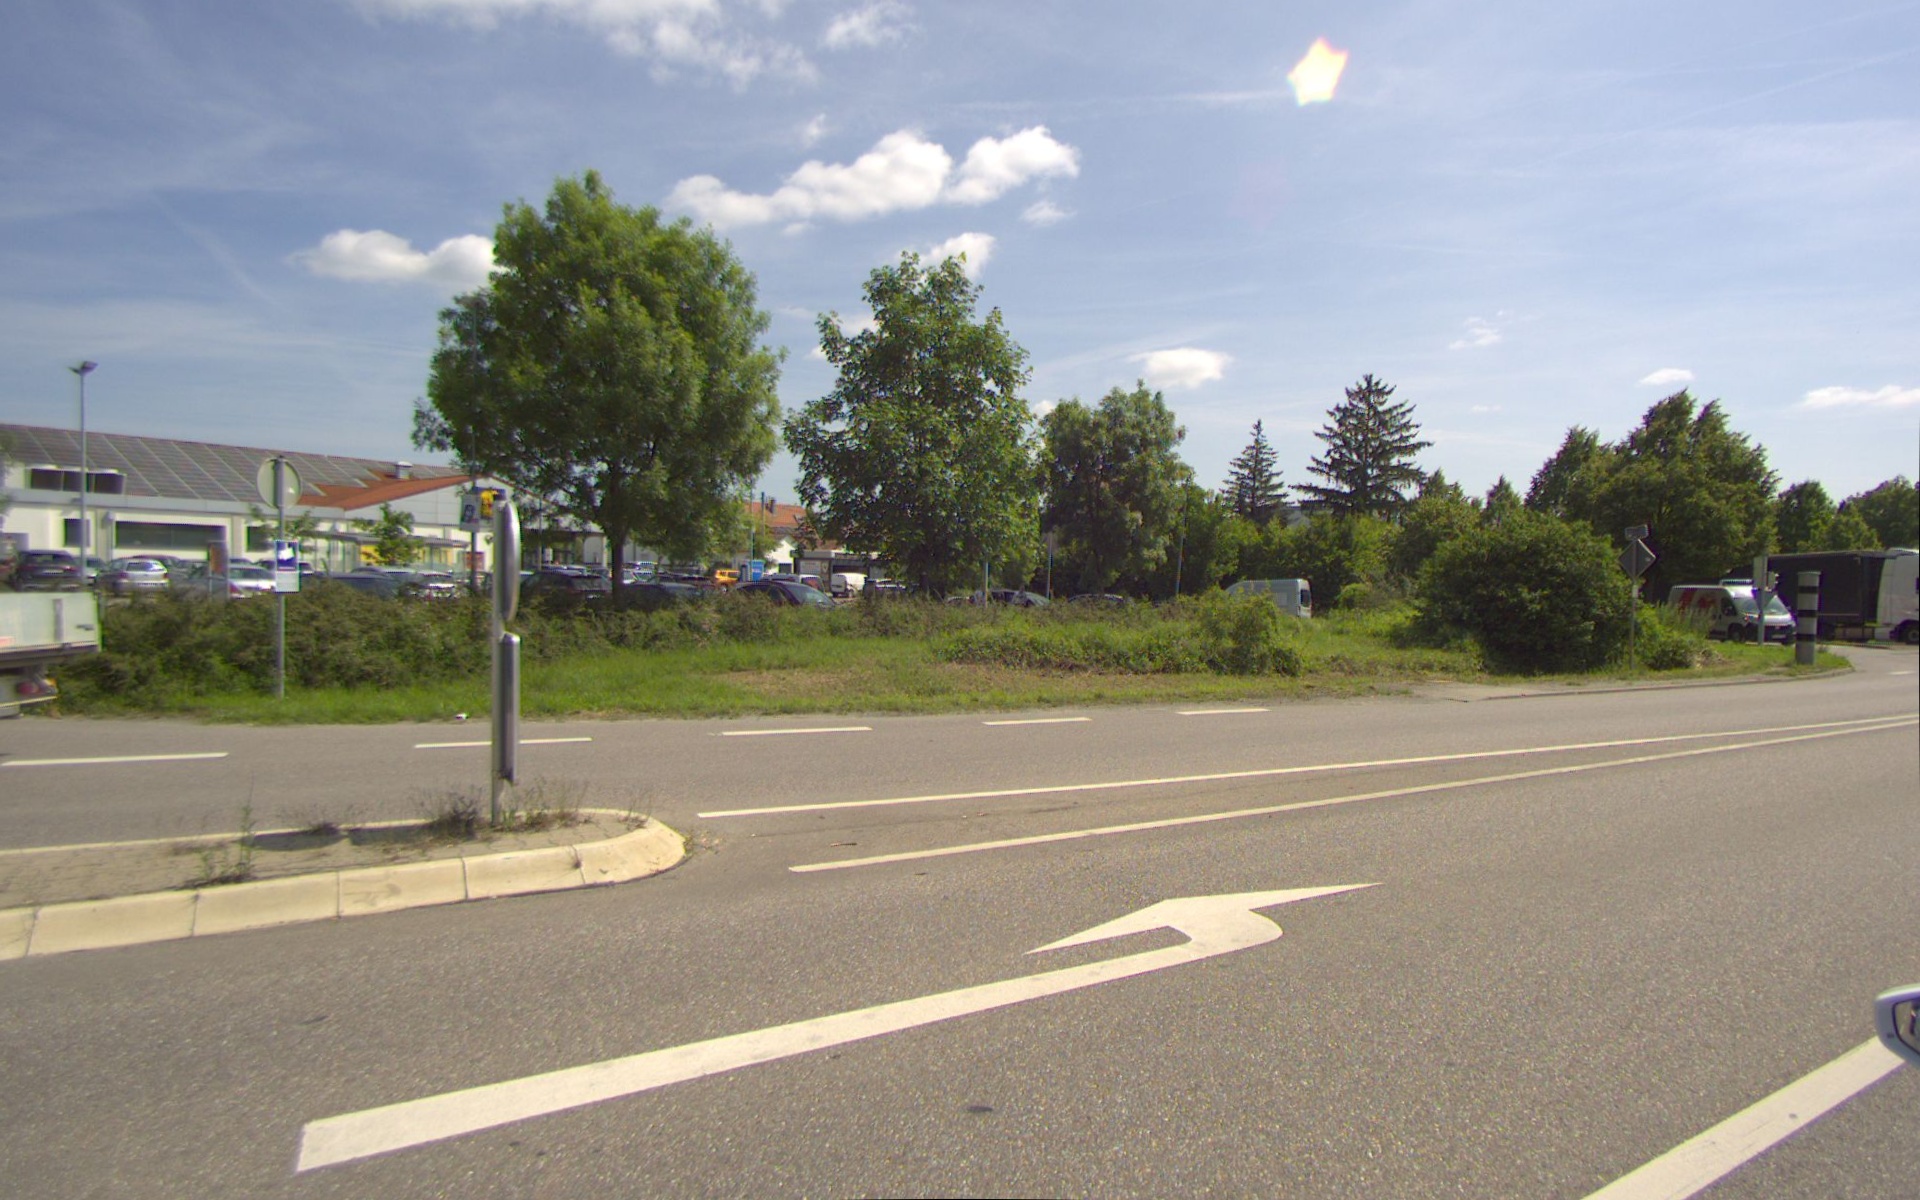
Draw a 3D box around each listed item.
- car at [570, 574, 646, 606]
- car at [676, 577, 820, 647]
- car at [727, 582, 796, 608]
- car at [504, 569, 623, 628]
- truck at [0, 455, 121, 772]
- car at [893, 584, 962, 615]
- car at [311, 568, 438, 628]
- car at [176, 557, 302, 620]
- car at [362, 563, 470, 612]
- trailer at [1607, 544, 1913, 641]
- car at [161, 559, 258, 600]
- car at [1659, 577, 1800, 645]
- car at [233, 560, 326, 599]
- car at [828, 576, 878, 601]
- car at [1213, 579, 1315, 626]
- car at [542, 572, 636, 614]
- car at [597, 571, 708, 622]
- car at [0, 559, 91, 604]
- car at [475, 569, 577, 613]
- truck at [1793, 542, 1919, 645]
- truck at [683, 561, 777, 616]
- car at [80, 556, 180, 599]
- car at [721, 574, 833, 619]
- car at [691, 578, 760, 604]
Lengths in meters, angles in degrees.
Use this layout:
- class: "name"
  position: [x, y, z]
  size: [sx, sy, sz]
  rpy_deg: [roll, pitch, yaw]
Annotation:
- class: "car"
  position: [-18.538, -0.517, 52.828]
  size: [4.193, 1.562, 1.871]
  rpy_deg: [2, 0, 39]
- class: "car"
  position: [-5.680, 0.283, 26.678]
  size: [3.941, 1.679, 1.686]
  rpy_deg: [2, 0, 41]
- class: "car"
  position: [-12.859, -0.287, 65.151]
  size: [1.849, 1.562, 4.243]
  rpy_deg: [2, 0, 36]
- class: "car"
  position: [-12.957, -0.079, 32.741]
  size: [3.939, 1.697, 1.903]
  rpy_deg: [3, 2, 40]
- class: "truck"
  position: [-10.397, 0.028, 7.358]
  size: [6.234, 2.407, 2.246]
  rpy_deg: [1, 1, -8]
- class: "car"
  position: [-1.858, -0.005, 58.255]
  size: [1.883, 1.662, 3.984]
  rpy_deg: [2, 0, 37]
- class: "car"
  position: [-16.934, -0.096, 29.000]
  size: [4.081, 1.522, 1.776]
  rpy_deg: [3, 2, 38]
- class: "car"
  position: [-21.614, -0.366, 30.070]
  size: [4.353, 1.698, 1.859]
  rpy_deg: [3, 1, 37]
- class: "car"
  position: [-18.617, -0.431, 34.323]
  size: [3.936, 1.549, 1.772]
  rpy_deg: [2, 0, 37]
- class: "trailer"
  position: [38.268, -0.403, 49.323]
  size: [2.746, 4.116, 13.711]
  rpy_deg: [0, 1, -7]
- class: "car"
  position: [-29.600, -0.808, 39.579]
  size: [3.932, 1.461, 1.880]
  rpy_deg: [3, 1, 34]
- class: "car"
  position: [32.850, 0.421, 43.152]
  size: [2.081, 2.690, 5.989]
  rpy_deg: [0, 0, 7]
- class: "car"
  position: [-28.291, -0.858, 41.738]
  size: [3.932, 1.461, 1.880]
  rpy_deg: [3, 1, 34]
- class: "car"
  position: [-8.559, -0.909, 80.610]
  size: [1.866, 1.782, 3.988]
  rpy_deg: [2, 0, 34]
- class: "car"
  position: [15.480, 0.087, 51.278]
  size: [4.524, 2.209, 1.992]
  rpy_deg: [2, 1, 37]
- class: "car"
  position: [-14.697, -0.292, 39.728]
  size: [3.940, 1.549, 1.770]
  rpy_deg: [2, 0, 41]
- class: "car"
  position: [-11.015, -0.133, 35.870]
  size: [3.939, 1.711, 1.918]
  rpy_deg: [2, 0, 40]
- class: "car"
  position: [-32.167, -0.661, 35.015]
  size: [3.932, 1.461, 1.880]
  rpy_deg: [3, 1, 34]
- class: "car"
  position: [-16.404, -0.351, 37.905]
  size: [3.936, 1.549, 1.772]
  rpy_deg: [2, 0, 37]
- class: "truck"
  position: [39.330, -0.287, 42.507]
  size: [2.748, 4.116, 5.832]
  rpy_deg: [0, 1, -11]
- class: "truck"
  position: [-10.557, -0.517, 46.109]
  size: [3.932, 2.397, 1.994]
  rpy_deg: [2, 0, 34]
- class: "car"
  position: [-31.203, -0.855, 37.738]
  size: [3.932, 1.461, 1.880]
  rpy_deg: [3, 1, 34]
- class: "car"
  position: [-7.509, -0.173, 41.097]
  size: [4.353, 1.717, 1.994]
  rpy_deg: [1, 0, 34]
- class: "car"
  position: [-15.443, -0.579, 66.392]
  size: [1.849, 1.562, 4.243]
  rpy_deg: [2, 0, 36]
